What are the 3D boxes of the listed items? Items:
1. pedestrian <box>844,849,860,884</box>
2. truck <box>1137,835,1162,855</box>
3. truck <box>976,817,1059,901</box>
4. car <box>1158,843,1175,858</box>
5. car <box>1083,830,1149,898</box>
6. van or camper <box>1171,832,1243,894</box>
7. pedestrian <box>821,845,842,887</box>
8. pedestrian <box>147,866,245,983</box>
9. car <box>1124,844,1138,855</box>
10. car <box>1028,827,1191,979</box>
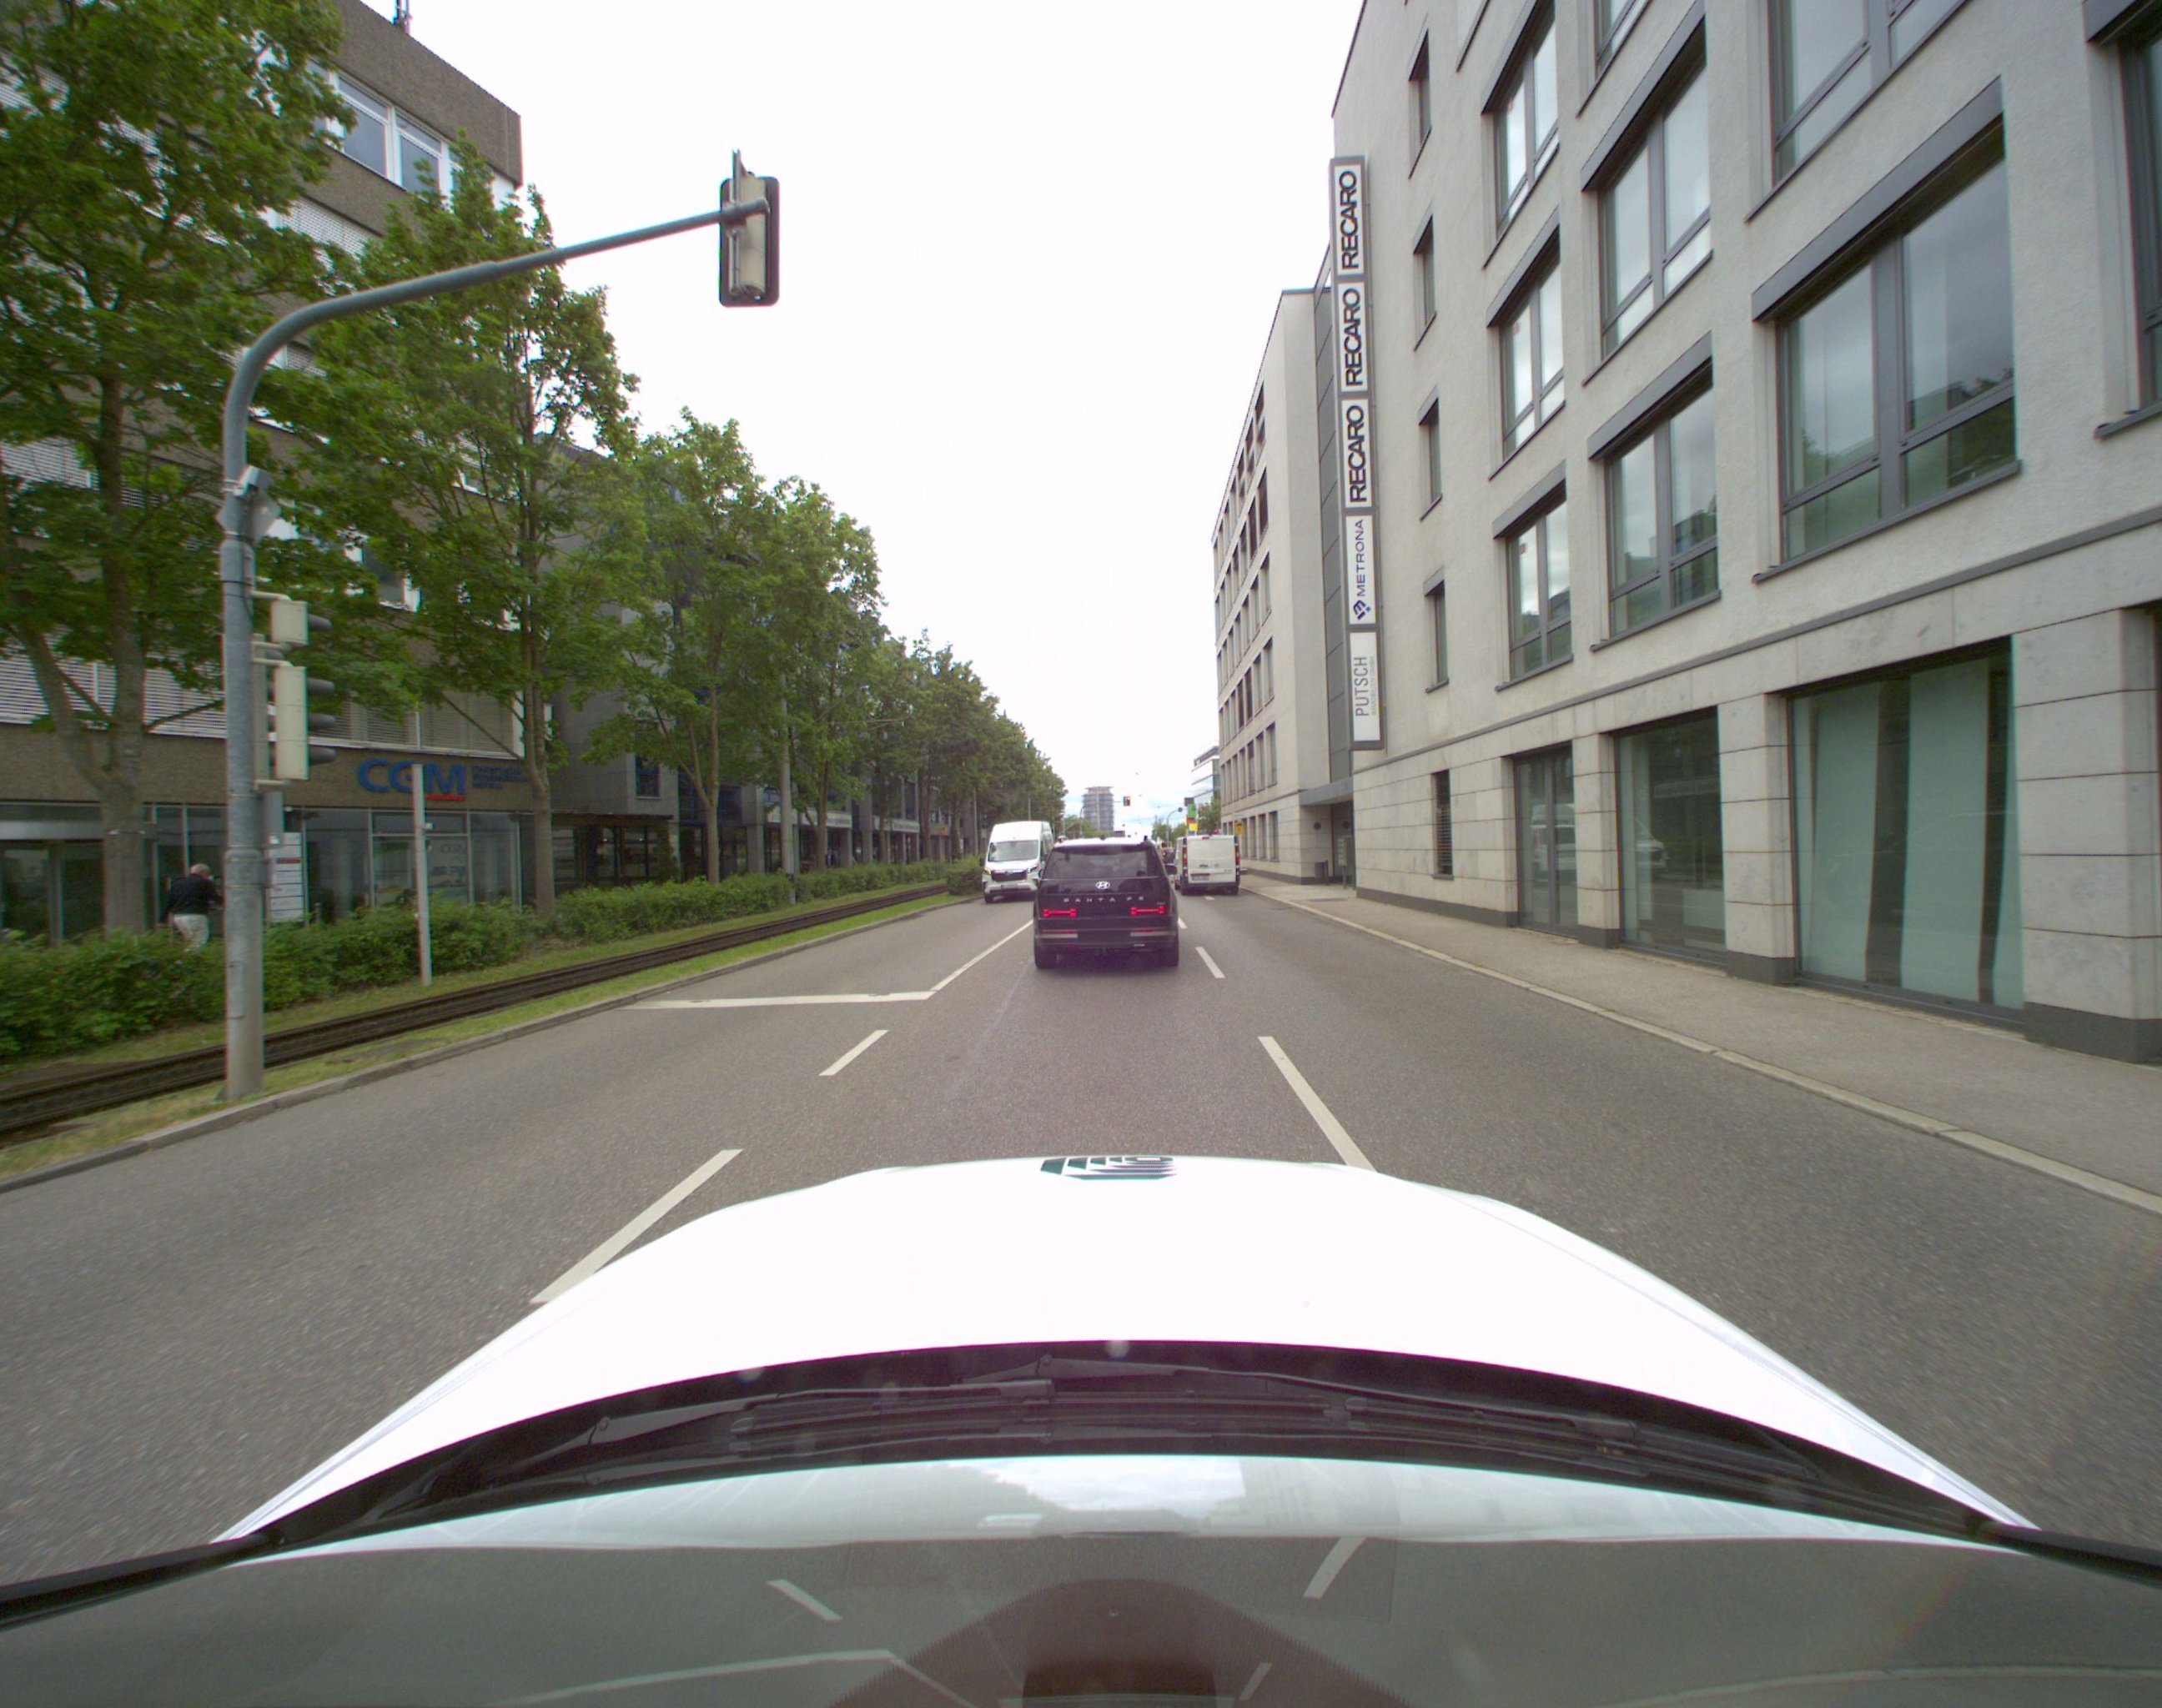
[{"bbox_3d":[-13.494,0.730,47.943,0.678,2.013,0.571,-3,0,3],"label":"pedestrian"},{"bbox_3d":[9.920,-1.264,118.730,2.329,2.747,6.472,-3,0,-7],"label":"truck"},{"bbox_3d":[-2.109,0.140,29.080,2.157,2.615,5.800,-2,1,2],"label":"truck"},{"bbox_3d":[9.561,-0.395,90.782,1.750,1.609,4.196,-2,1,6],"label":"car"},{"bbox_3d":[1.069,0.283,27.068,1.926,1.994,4.534,-2,1,0],"label":"car"},{"bbox_3d":[4.217,0.255,27.814,1.985,1.915,4.336,-1,1,3],"label":"van or camper"},{"bbox_3d":[-11.668,0.537,38.067,0.672,1.908,0.622,-3,0,3],"label":"pedestrian"},{"bbox_3d":[-13.654,1.065,12.581,0.684,1.705,0.684,-3,0,5],"label":"pedestrian"},{"bbox_3d":[8.071,-0.781,132.217,1.988,1.618,3.999,-3,0,-1],"label":"car"},{"bbox_3d":[0.273,0.573,11.962,1.904,1.749,4.393,-2,0,-2],"label":"car"}]
